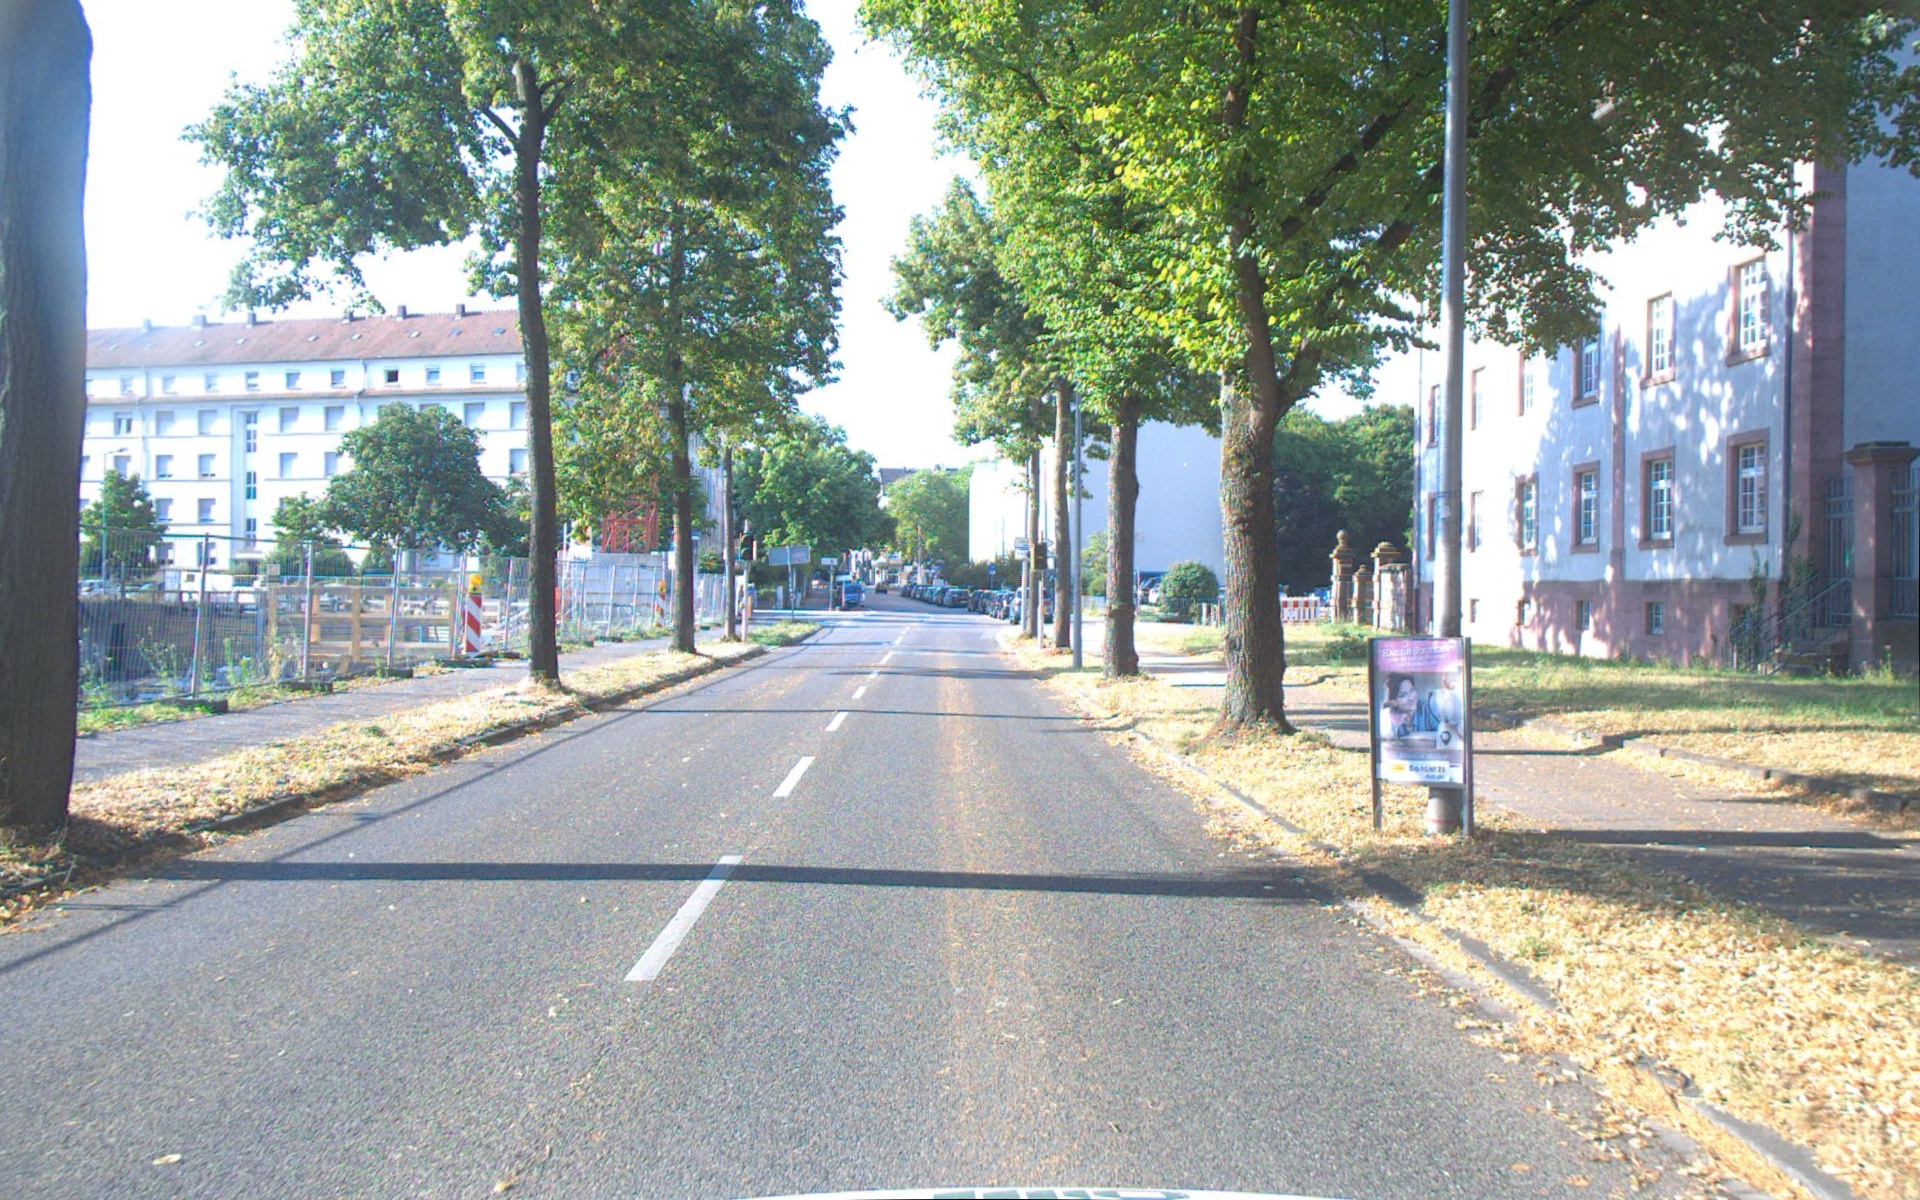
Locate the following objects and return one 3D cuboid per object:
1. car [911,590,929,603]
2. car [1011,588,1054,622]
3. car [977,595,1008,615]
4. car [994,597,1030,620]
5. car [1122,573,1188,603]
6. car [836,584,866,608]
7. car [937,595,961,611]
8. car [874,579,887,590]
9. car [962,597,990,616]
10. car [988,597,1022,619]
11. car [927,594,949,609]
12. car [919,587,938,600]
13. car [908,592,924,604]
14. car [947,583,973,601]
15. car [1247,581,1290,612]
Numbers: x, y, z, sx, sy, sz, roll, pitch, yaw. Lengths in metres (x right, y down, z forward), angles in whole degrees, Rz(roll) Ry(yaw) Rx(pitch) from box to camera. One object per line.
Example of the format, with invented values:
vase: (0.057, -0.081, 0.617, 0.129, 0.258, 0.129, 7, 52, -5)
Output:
car: (-4.427, -0.427, 182.296, 1.805, 1.410, 3.997, 0, 0, -4)
car: (3.487, 0.221, 80.123, 1.804, 1.601, 3.999, 0, 0, -1)
car: (2.088, 0.334, 107.086, 1.804, 1.283, 3.999, 0, 0, -1)
car: (2.864, 0.468, 91.457, 1.743, 1.248, 3.999, 0, 0, -1)
car: (12.350, -0.751, 104.839, 3.905, 1.758, 1.773, 2, 0, 0)
car: (-7.895, -0.289, 119.329, 1.955, 1.717, 3.994, 0, 0, -6)
car: (-0.992, 0.260, 143.031, 1.805, 1.410, 3.997, 0, 0, -4)
car: (-11.360, -2.152, 235.982, 1.680, 1.512, 3.996, -1, 0, -4)
car: (1.058, 0.445, 114.116, 1.804, 1.283, 3.999, 0, 0, -1)
car: (2.636, 0.459, 96.855, 1.804, 1.283, 3.999, 0, 0, -1)
car: (-2.057, 0.132, 155.268, 1.805, 1.410, 3.997, 0, 0, -4)
car: (-3.350, -0.700, 175.933, 1.805, 1.410, 3.997, 0, 0, -4)
car: (-5.431, -0.237, 205.425, 1.805, 1.410, 3.997, -2, 0, -4)
car: (-0.041, -0.611, 132.391, 1.805, 1.410, 3.997, 0, 0, -4)
car: (17.206, -0.167, 92.336, 1.775, 1.586, 3.626, 2, -1, 1)
